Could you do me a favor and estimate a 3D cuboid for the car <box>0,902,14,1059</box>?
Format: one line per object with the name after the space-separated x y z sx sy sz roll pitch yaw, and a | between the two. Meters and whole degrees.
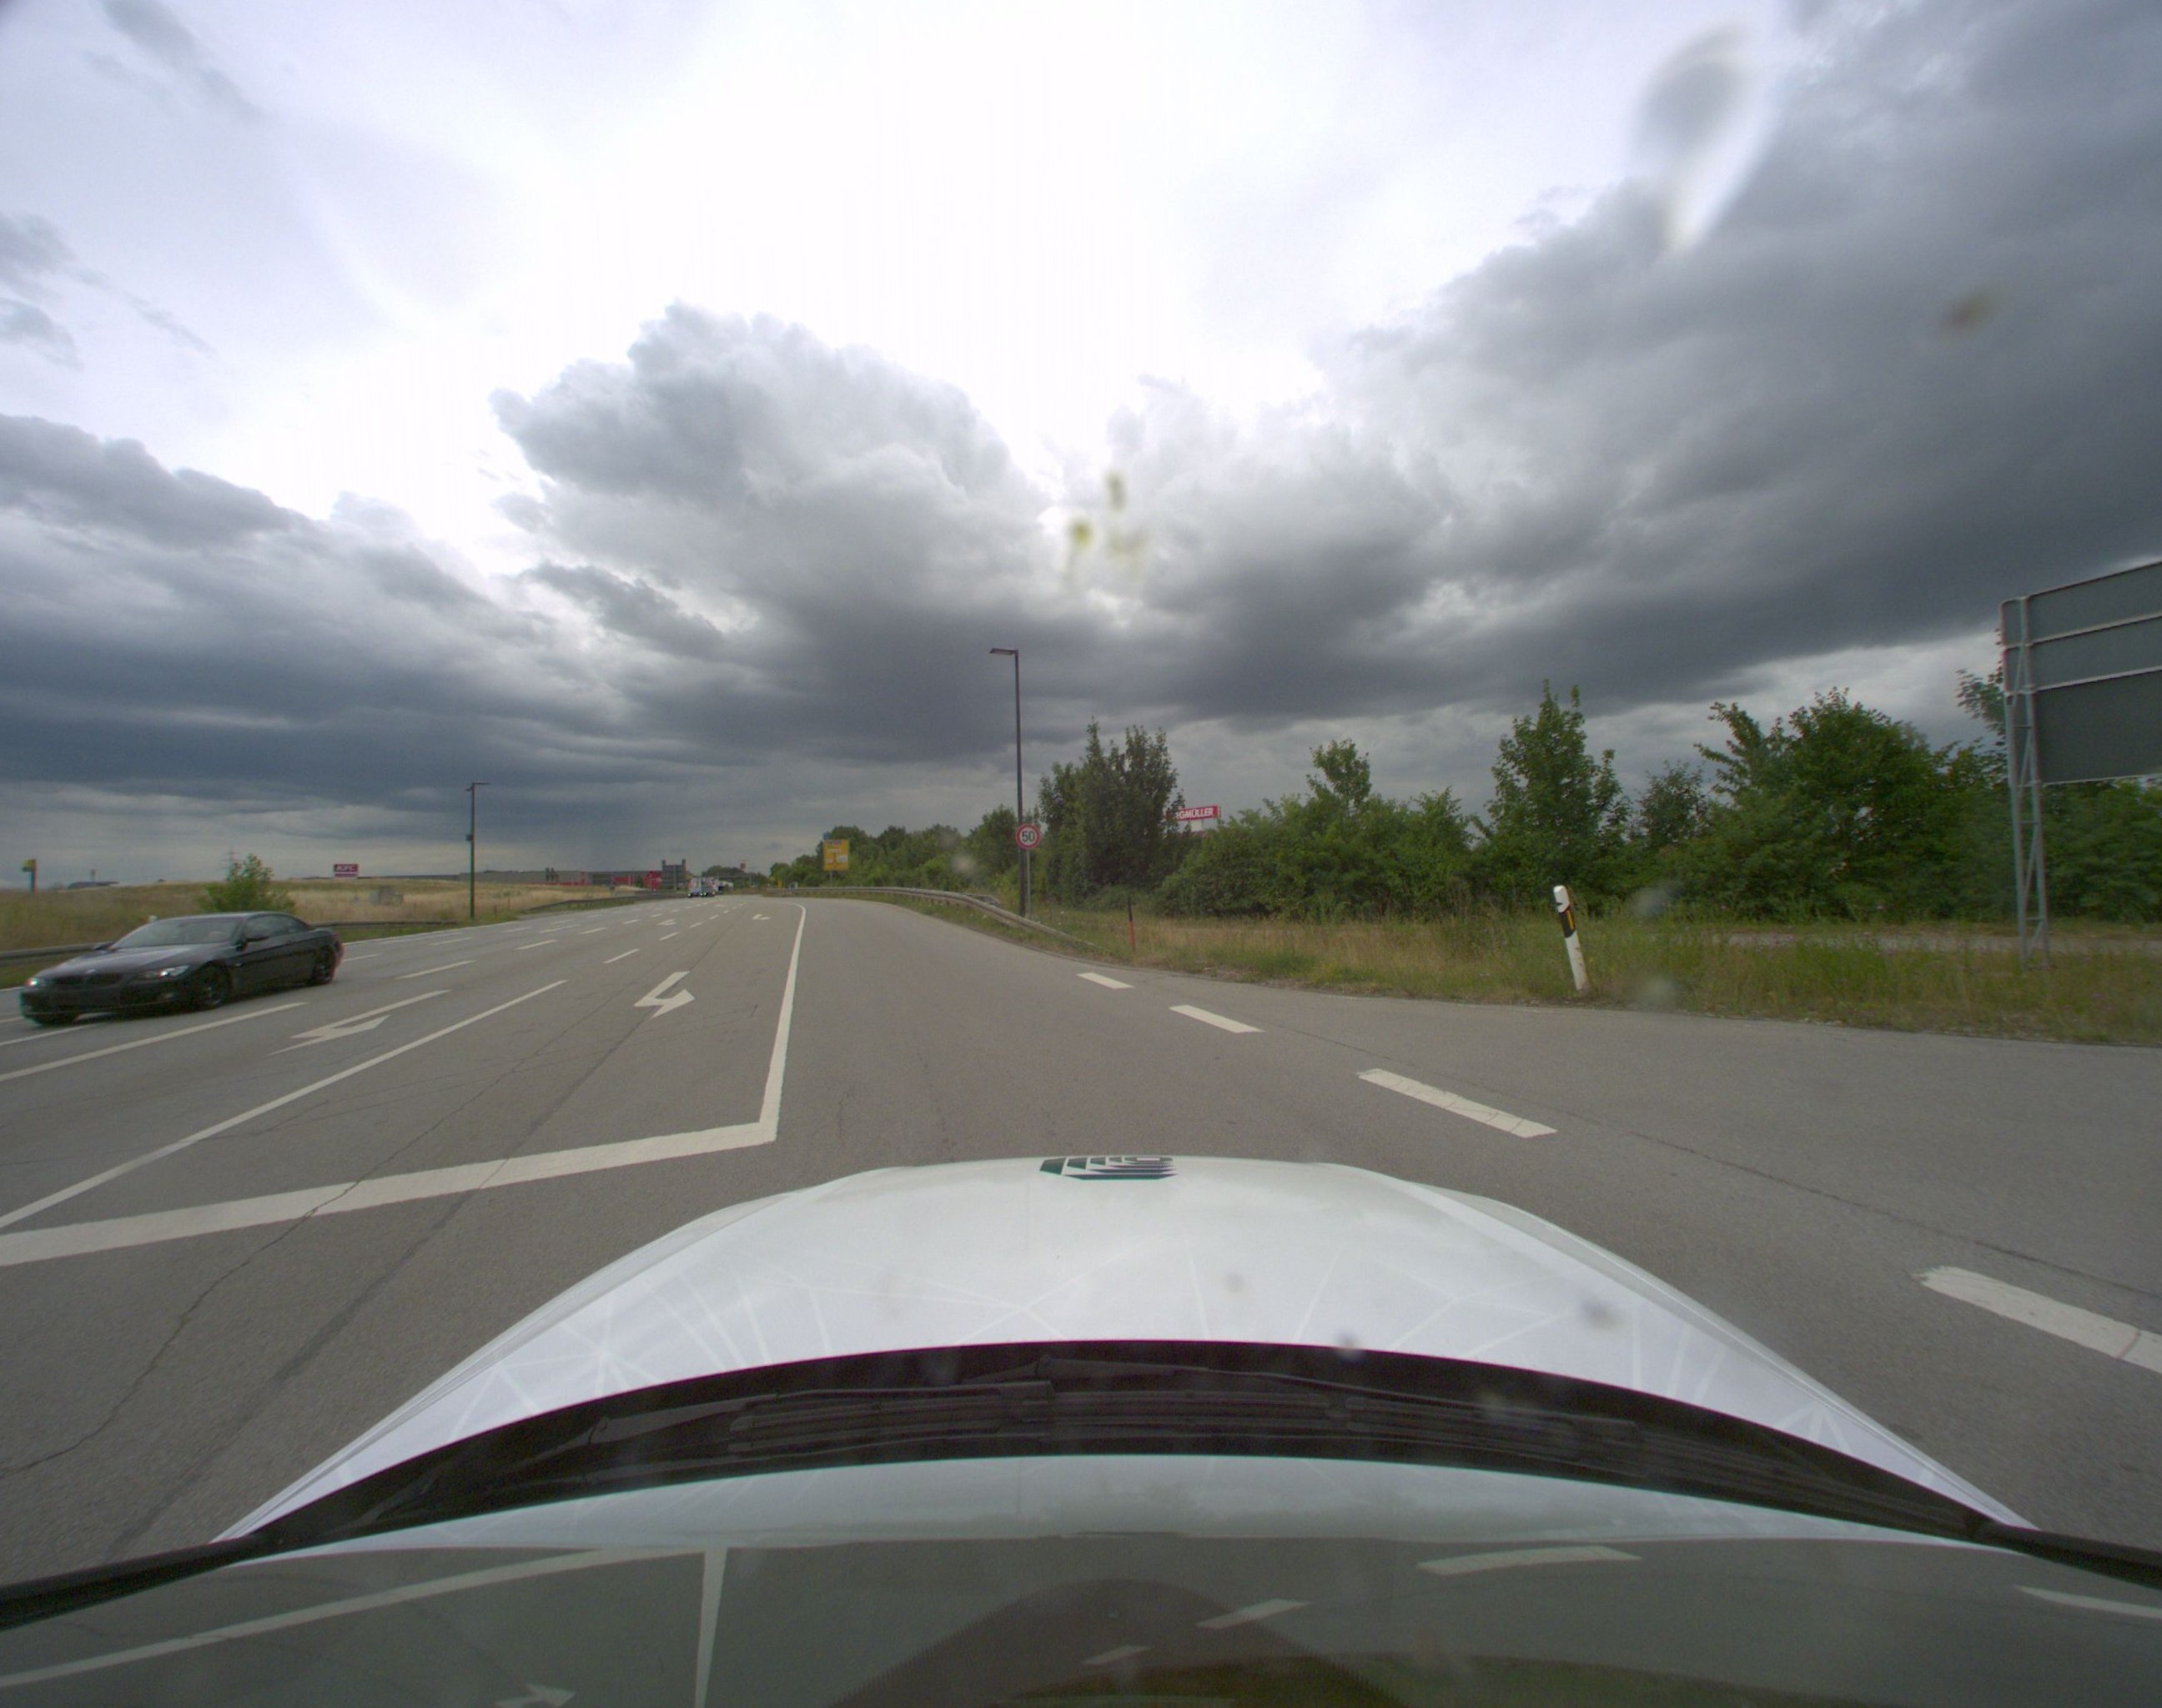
-11.316 1.304 5.899 1.921 1.610 4.915 -3 0 -20 | car

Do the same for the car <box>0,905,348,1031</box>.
-13.644 1.584 12.628 1.713 1.410 4.642 -2 -2 -20 | car

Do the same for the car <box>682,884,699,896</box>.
-54.362 5.045 113.447 1.805 1.551 3.970 -2 -2 -22 | car

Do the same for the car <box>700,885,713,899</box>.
-72.146 7.298 156.893 2.002 2.592 5.958 -1 -2 -22 | car
